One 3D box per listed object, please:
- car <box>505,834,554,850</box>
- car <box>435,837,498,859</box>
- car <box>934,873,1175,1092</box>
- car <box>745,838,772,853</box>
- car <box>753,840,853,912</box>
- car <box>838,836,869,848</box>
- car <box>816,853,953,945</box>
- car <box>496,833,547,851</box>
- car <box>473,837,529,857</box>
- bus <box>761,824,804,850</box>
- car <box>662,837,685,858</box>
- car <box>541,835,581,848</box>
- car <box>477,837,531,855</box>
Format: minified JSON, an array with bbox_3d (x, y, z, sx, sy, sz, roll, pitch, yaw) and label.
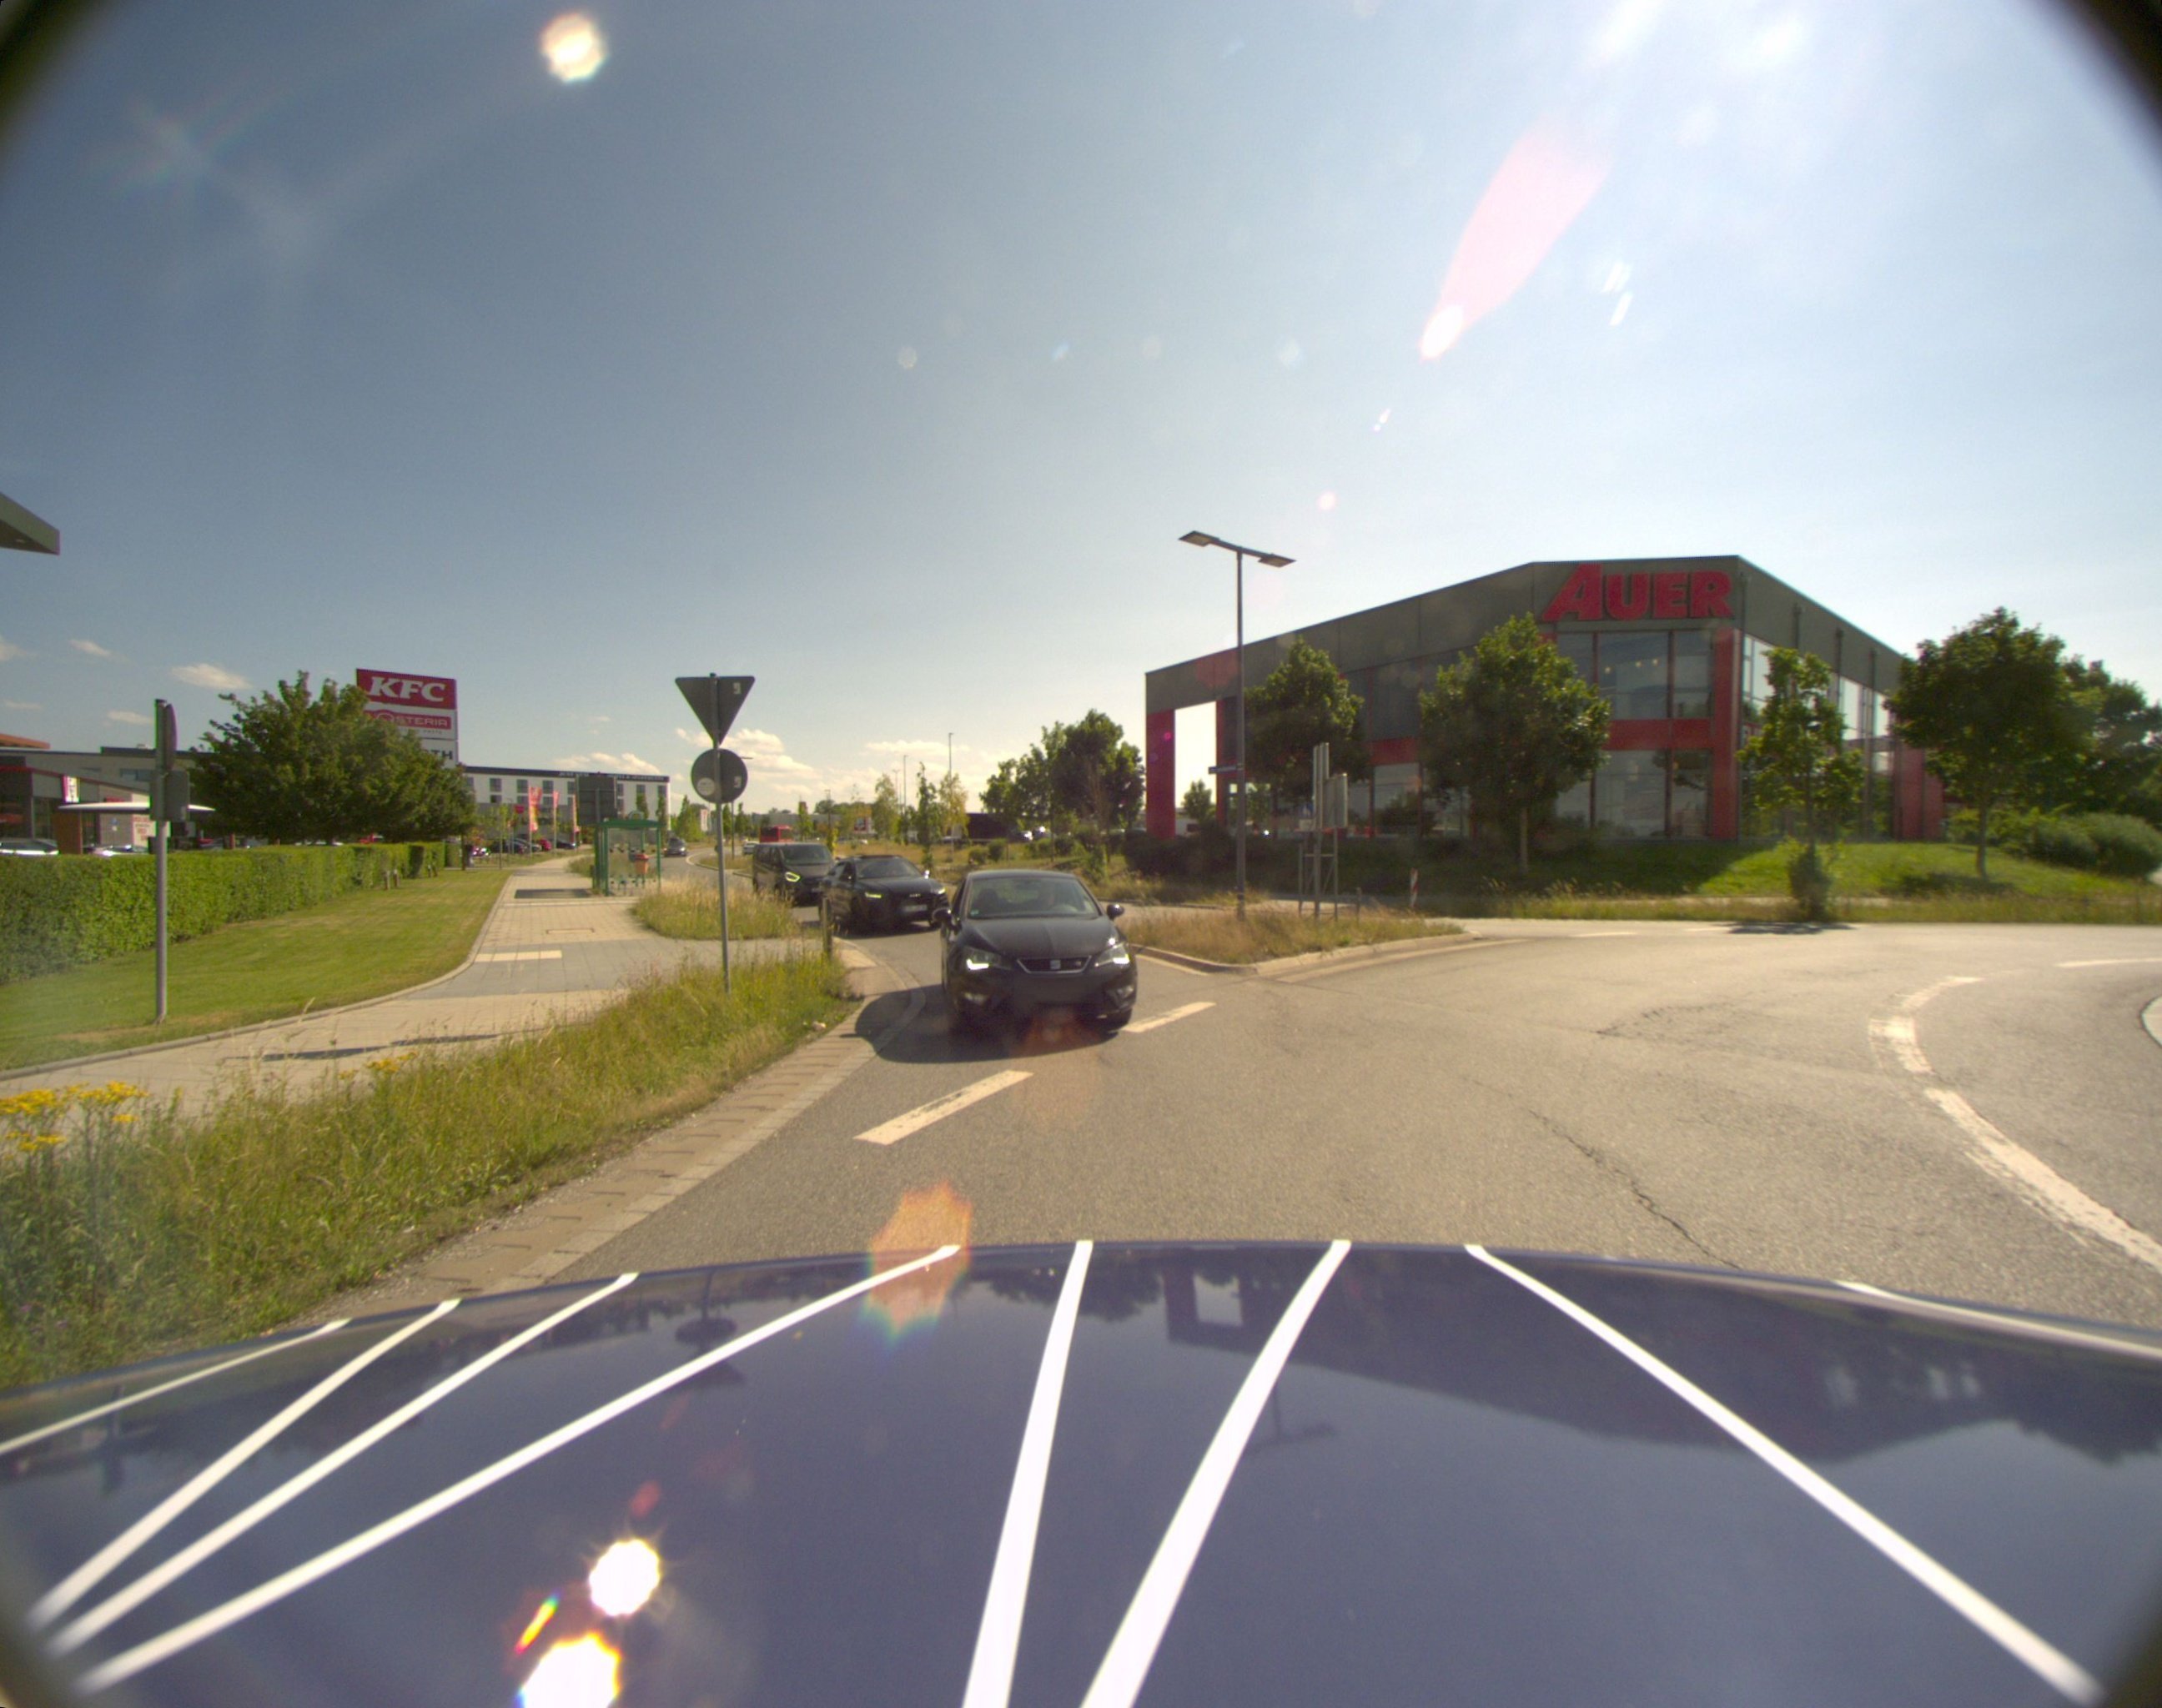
[{"bbox_3d":[-64.229,-1.400,88.510,4.190,1.752,1.820,-1,2,-18],"label":"car"},{"bbox_3d":[-58.044,-0.567,71.859,4.191,2.002,1.929,-1,2,-20],"label":"car"},{"bbox_3d":[-0.548,1.021,7.865,1.863,1.460,3.995,-1,1,-11],"label":"car"},{"bbox_3d":[-30.720,-0.810,72.486,1.798,1.408,4.375,-1,1,-16],"label":"car"},{"bbox_3d":[-9.447,0.618,25.561,2.084,2.037,4.669,-4,4,-33],"label":"car"},{"bbox_3d":[-32.503,-1.767,108.718,3.943,1.667,1.619,0,1,1],"label":"car"},{"bbox_3d":[-4.693,0.931,17.748,1.866,1.679,3.989,-4,4,-33],"label":"car"},{"bbox_3d":[-62.940,-1.386,85.538,4.192,2.002,1.929,-1,2,-23],"label":"car"},{"bbox_3d":[-59.988,-0.778,78.656,4.191,2.002,1.929,-1,2,-21],"label":"car"},{"bbox_3d":[-40.473,-2.308,103.567,2.617,3.223,11.870,-1,1,-7],"label":"bus"},{"bbox_3d":[-37.478,-0.613,70.011,1.733,1.893,3.990,-1,1,-27],"label":"car"},{"bbox_3d":[-65.105,-1.610,95.203,3.829,1.610,1.753,-1,2,-22],"label":"car"},{"bbox_3d":[-61.273,-0.889,80.722,4.190,1.847,1.800,-1,2,-17],"label":"car"}]
